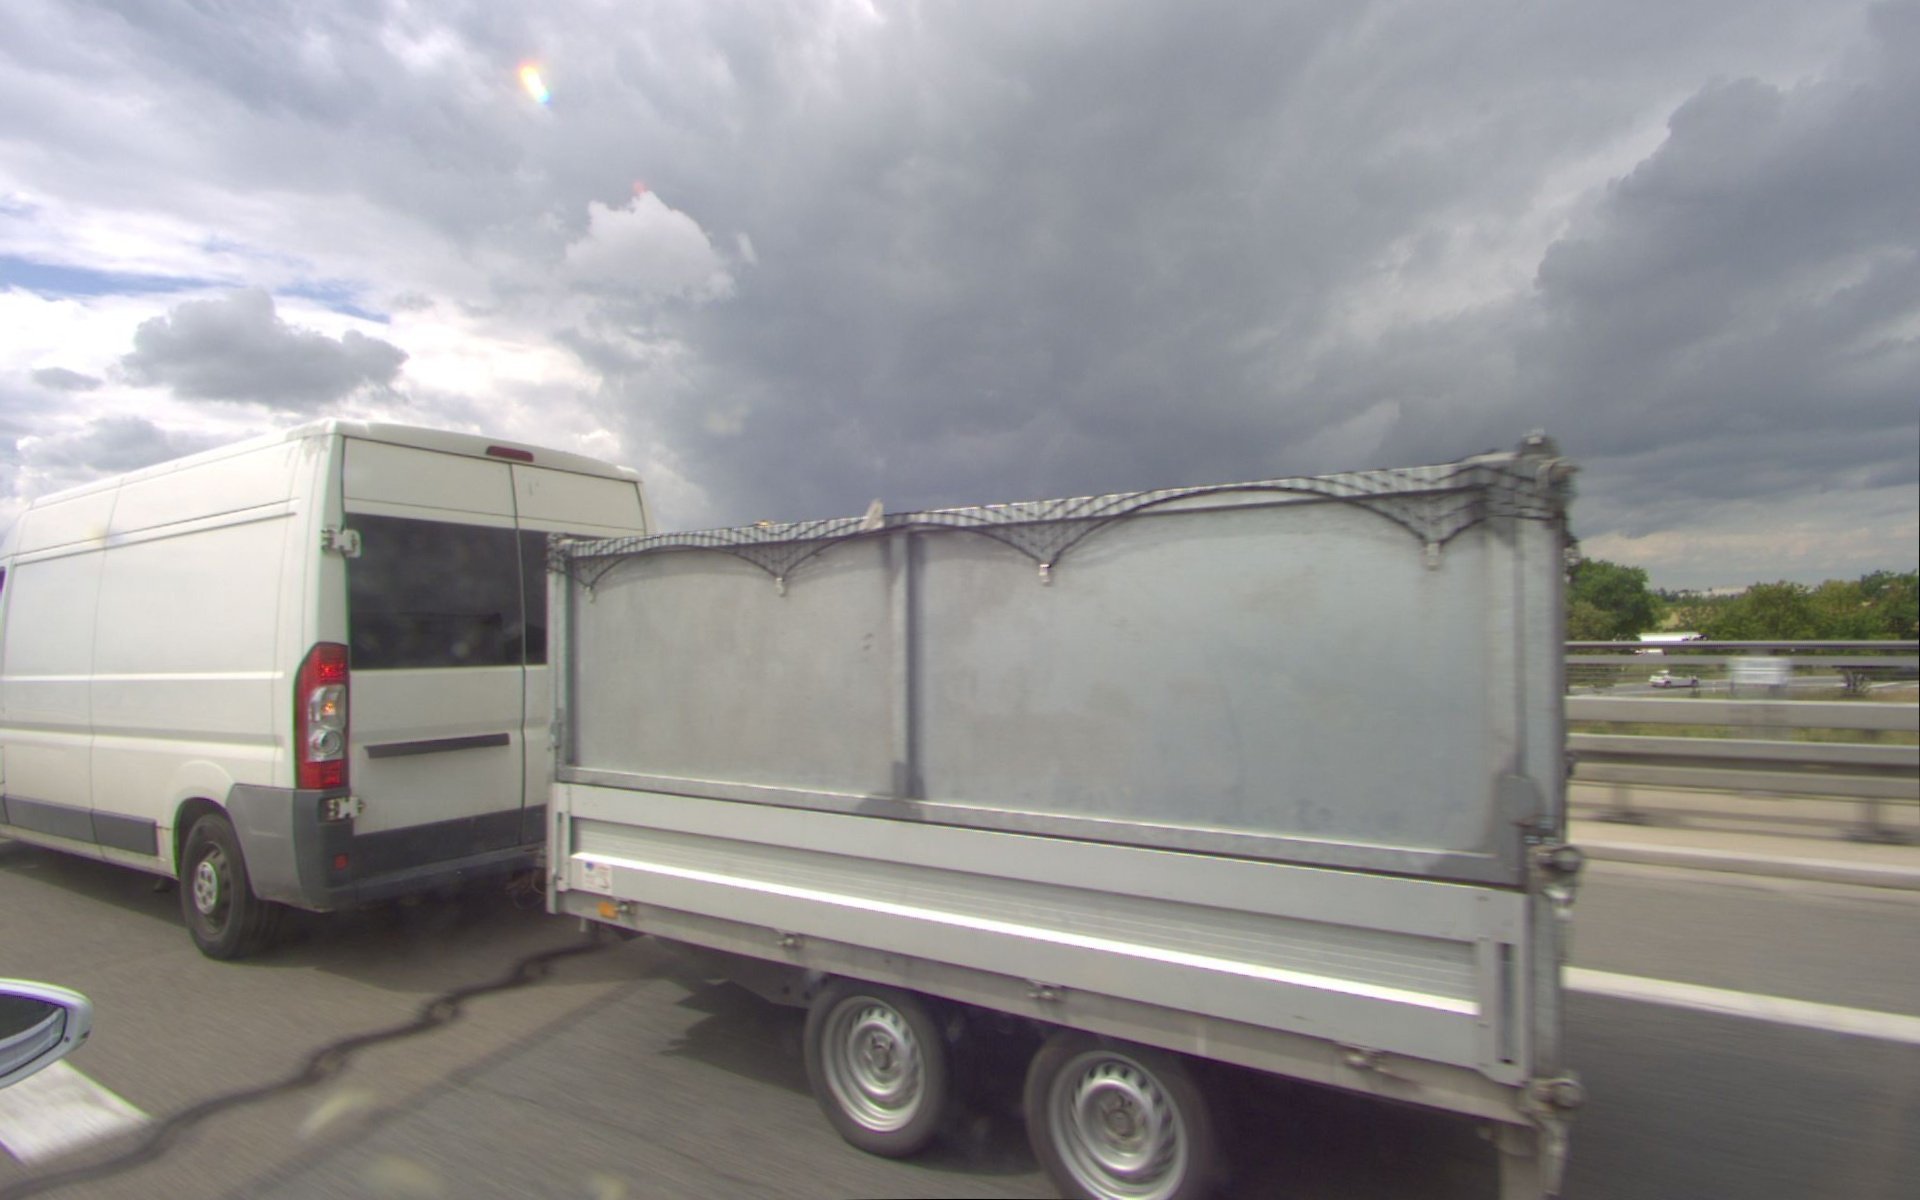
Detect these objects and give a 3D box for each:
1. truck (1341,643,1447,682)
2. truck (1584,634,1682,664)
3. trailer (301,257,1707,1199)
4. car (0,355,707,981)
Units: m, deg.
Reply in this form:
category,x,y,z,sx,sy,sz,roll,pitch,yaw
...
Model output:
category,x,y,z,sx,sy,sz,roll,pitch,yaw
truck,61.351,8.771,142.305,3.803,5.280,14.799,1,-2,-27
truck,79.130,5.756,117.897,3.301,3.410,8.964,1,-3,-36
trailer,-0.244,0.533,3.651,4.565,2.039,1.852,-2,-2,32
car,-4.573,0.374,6.498,6.064,2.485,2.111,-2,-2,32
